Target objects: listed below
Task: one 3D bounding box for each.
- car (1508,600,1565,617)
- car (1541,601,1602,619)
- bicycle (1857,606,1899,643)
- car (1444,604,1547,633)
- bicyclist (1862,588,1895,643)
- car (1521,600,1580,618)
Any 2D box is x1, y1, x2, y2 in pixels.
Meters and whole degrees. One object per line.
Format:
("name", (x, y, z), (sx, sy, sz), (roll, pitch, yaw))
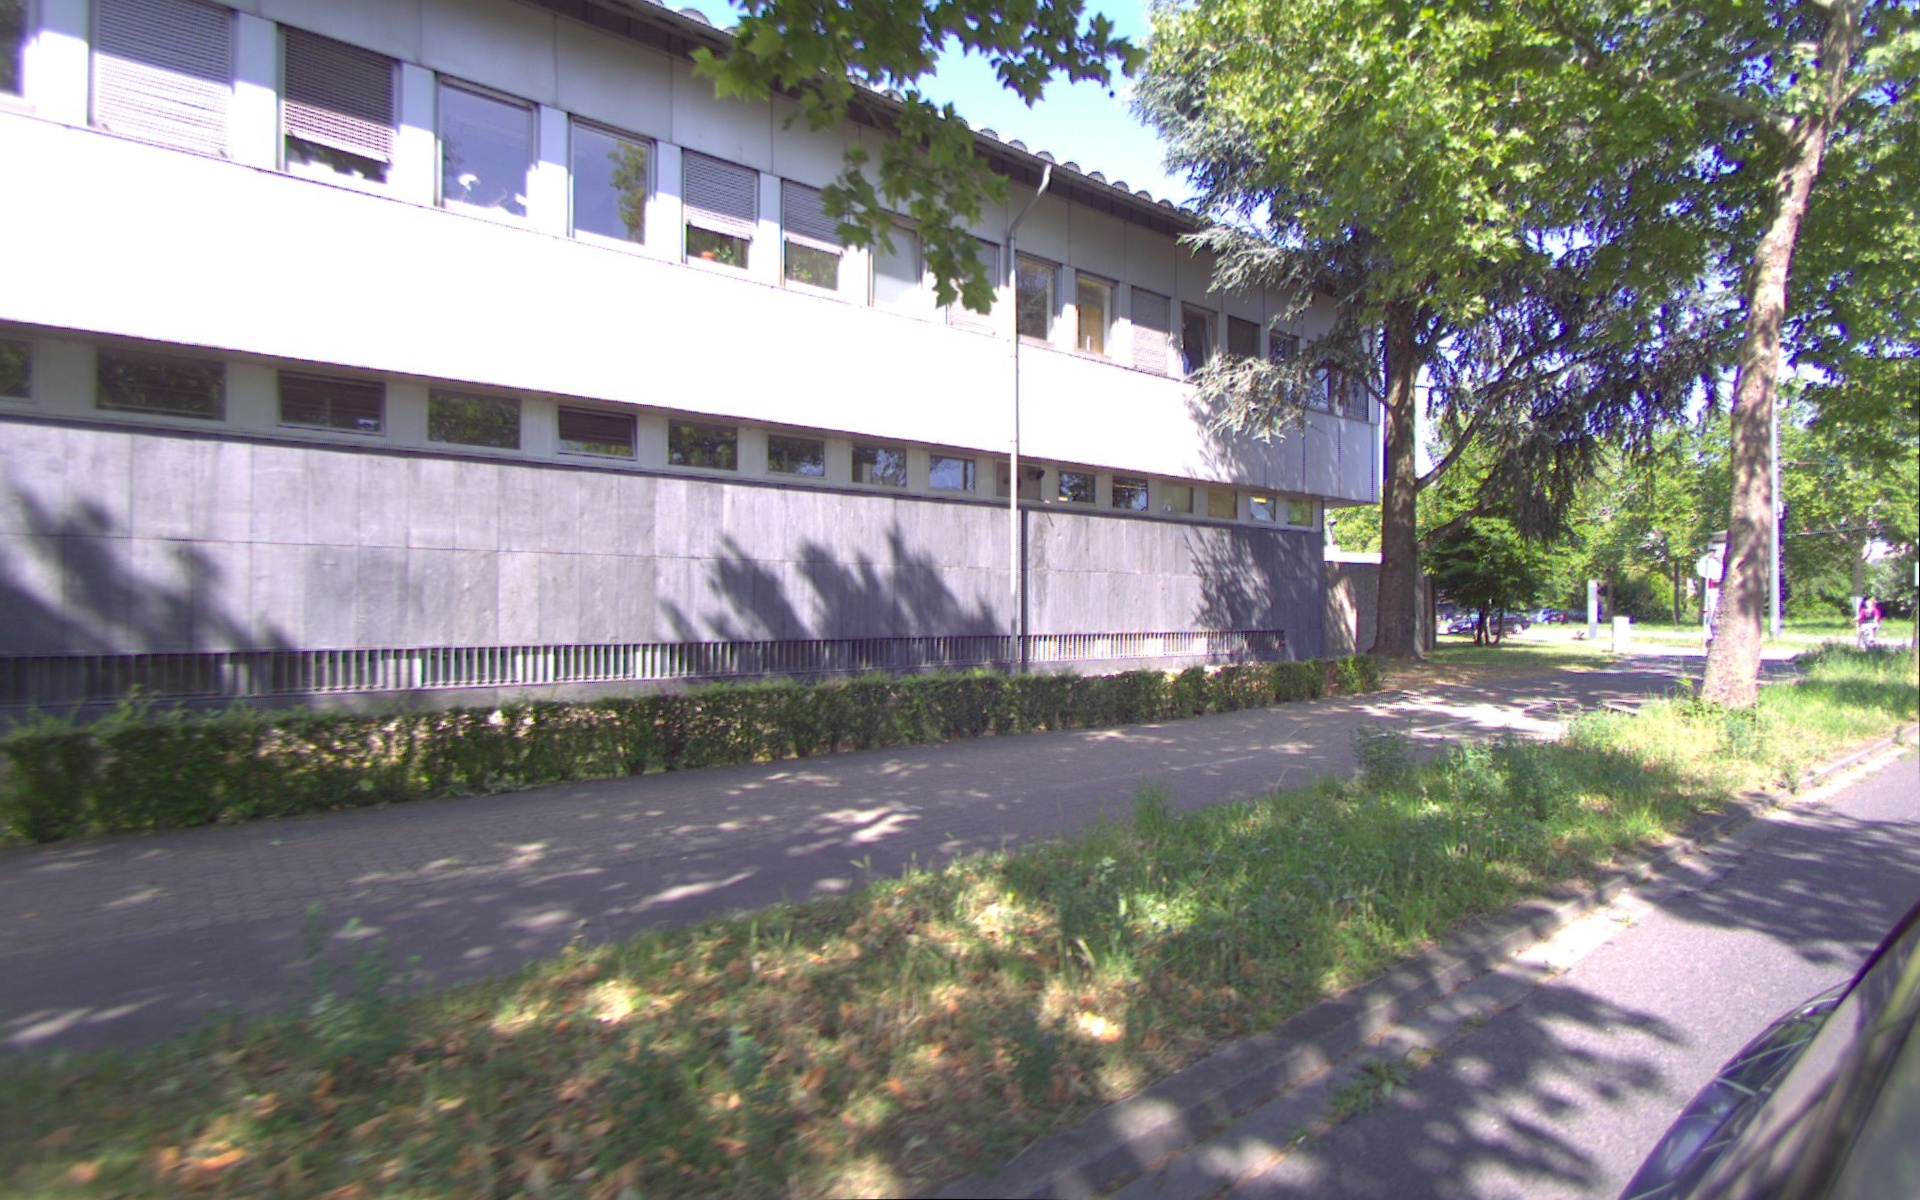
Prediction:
("car", (51.143, 0.737, 89.846), (4.263, 1.509, 2.004), (0, 0, -17))
("car", (51.422, 0.823, 85.104), (4.263, 1.509, 2.004), (0, 0, -17))
("bicycle", (30.952, 0.809, 34.112), (2.086, 1.200, 0.693), (0, -1, -38))
("car", (30.945, 1.058, 58.529), (5.012, 1.517, 2.147), (-1, 0, -13))
("bicyclist", (30.958, 0.509, 34.105), (0.795, 1.810, 0.702), (0, -1, -38))
("car", (50.897, 0.757, 87.244), (4.263, 1.509, 2.004), (0, 0, -17))
